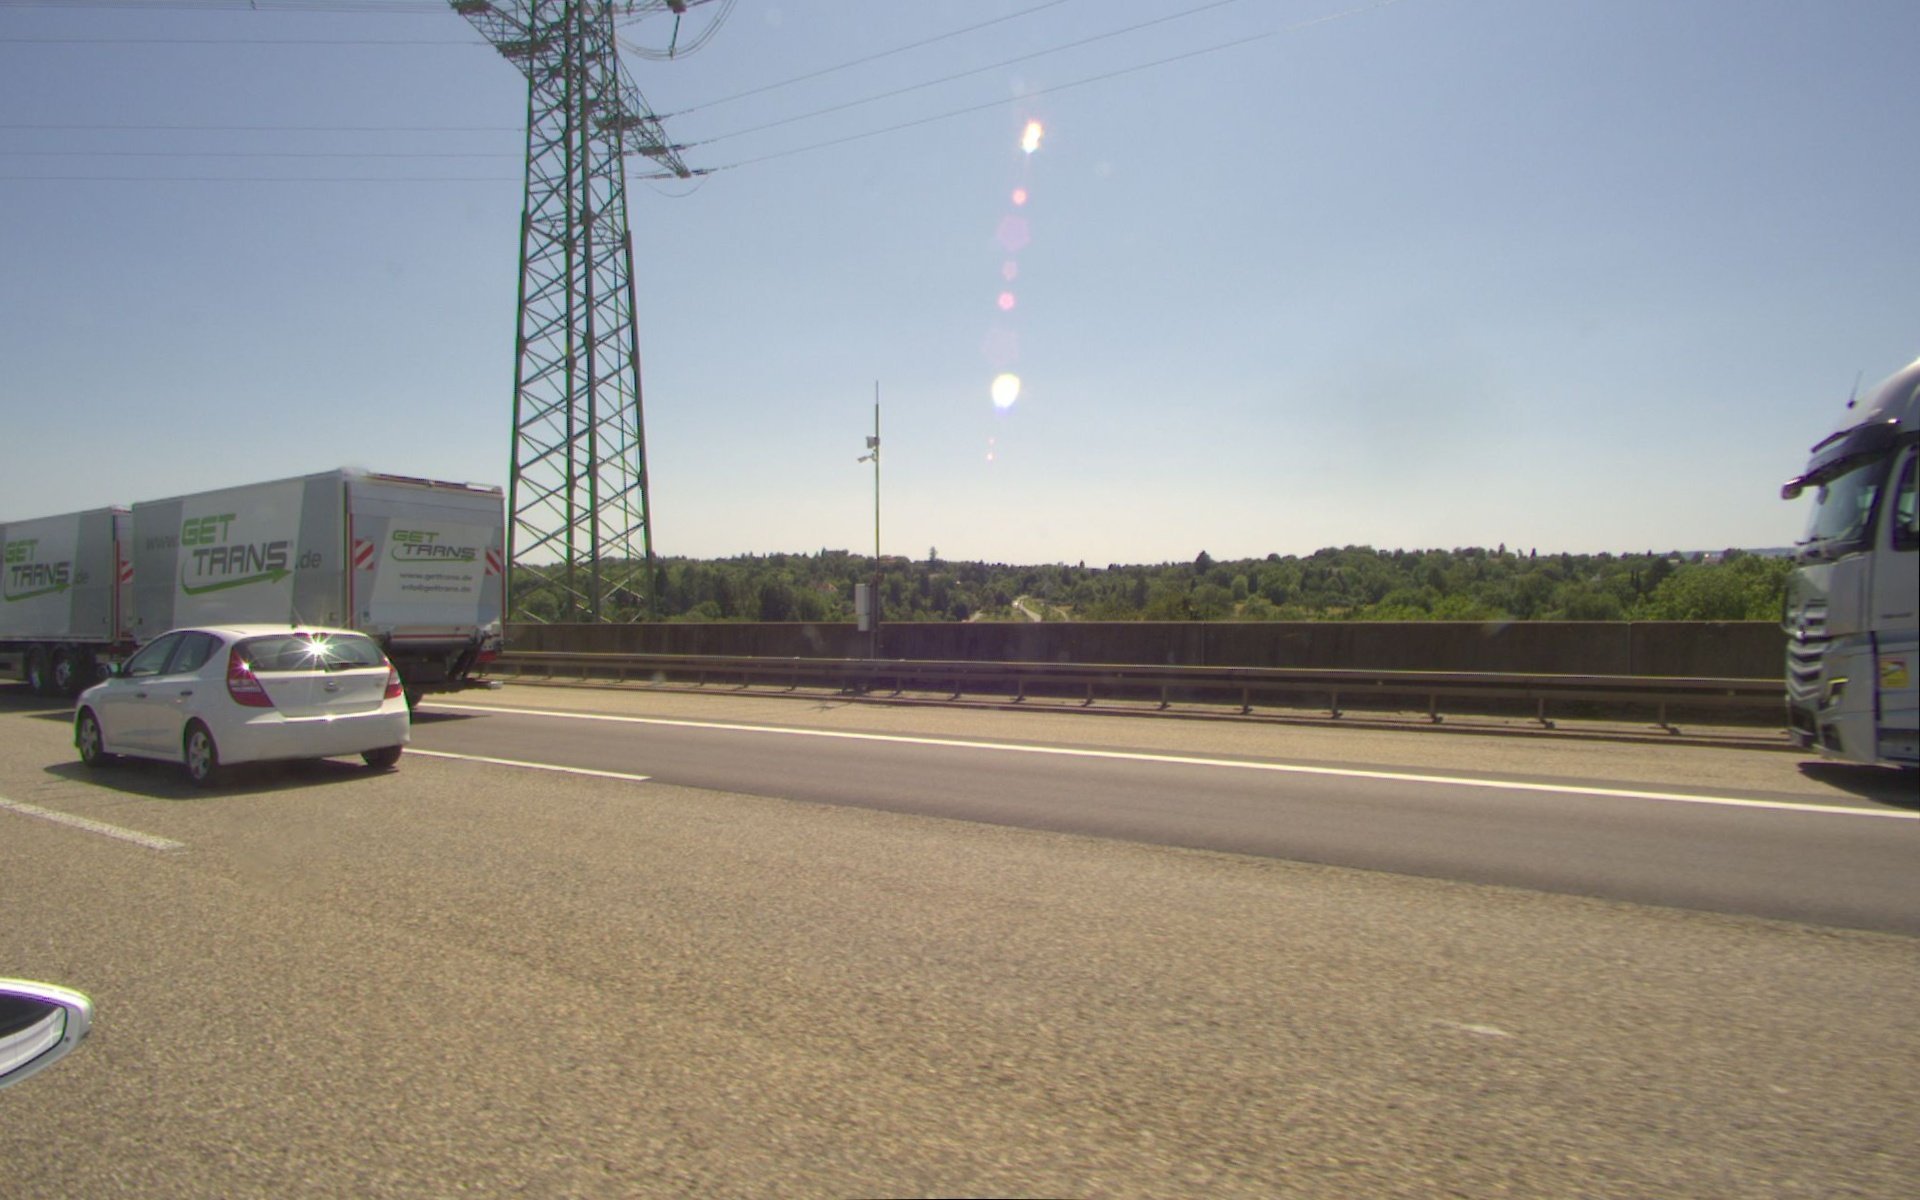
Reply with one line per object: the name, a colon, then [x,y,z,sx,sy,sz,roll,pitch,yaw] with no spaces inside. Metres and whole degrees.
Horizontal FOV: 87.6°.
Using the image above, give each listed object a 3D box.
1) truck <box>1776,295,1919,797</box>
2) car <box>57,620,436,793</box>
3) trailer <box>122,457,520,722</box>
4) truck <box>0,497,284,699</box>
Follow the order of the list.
truck: [10.544,-0.451,8.216,5.632,4.173,2.512,0,-1,31]
car: [-7.589,0.960,10.555,4.231,1.474,1.785,-1,-1,32]
trailer: [-11.290,-0.098,17.412,7.898,3.749,2.693,0,0,32]
truck: [-19.241,0.022,22.376,10.850,3.696,2.652,0,0,32]
